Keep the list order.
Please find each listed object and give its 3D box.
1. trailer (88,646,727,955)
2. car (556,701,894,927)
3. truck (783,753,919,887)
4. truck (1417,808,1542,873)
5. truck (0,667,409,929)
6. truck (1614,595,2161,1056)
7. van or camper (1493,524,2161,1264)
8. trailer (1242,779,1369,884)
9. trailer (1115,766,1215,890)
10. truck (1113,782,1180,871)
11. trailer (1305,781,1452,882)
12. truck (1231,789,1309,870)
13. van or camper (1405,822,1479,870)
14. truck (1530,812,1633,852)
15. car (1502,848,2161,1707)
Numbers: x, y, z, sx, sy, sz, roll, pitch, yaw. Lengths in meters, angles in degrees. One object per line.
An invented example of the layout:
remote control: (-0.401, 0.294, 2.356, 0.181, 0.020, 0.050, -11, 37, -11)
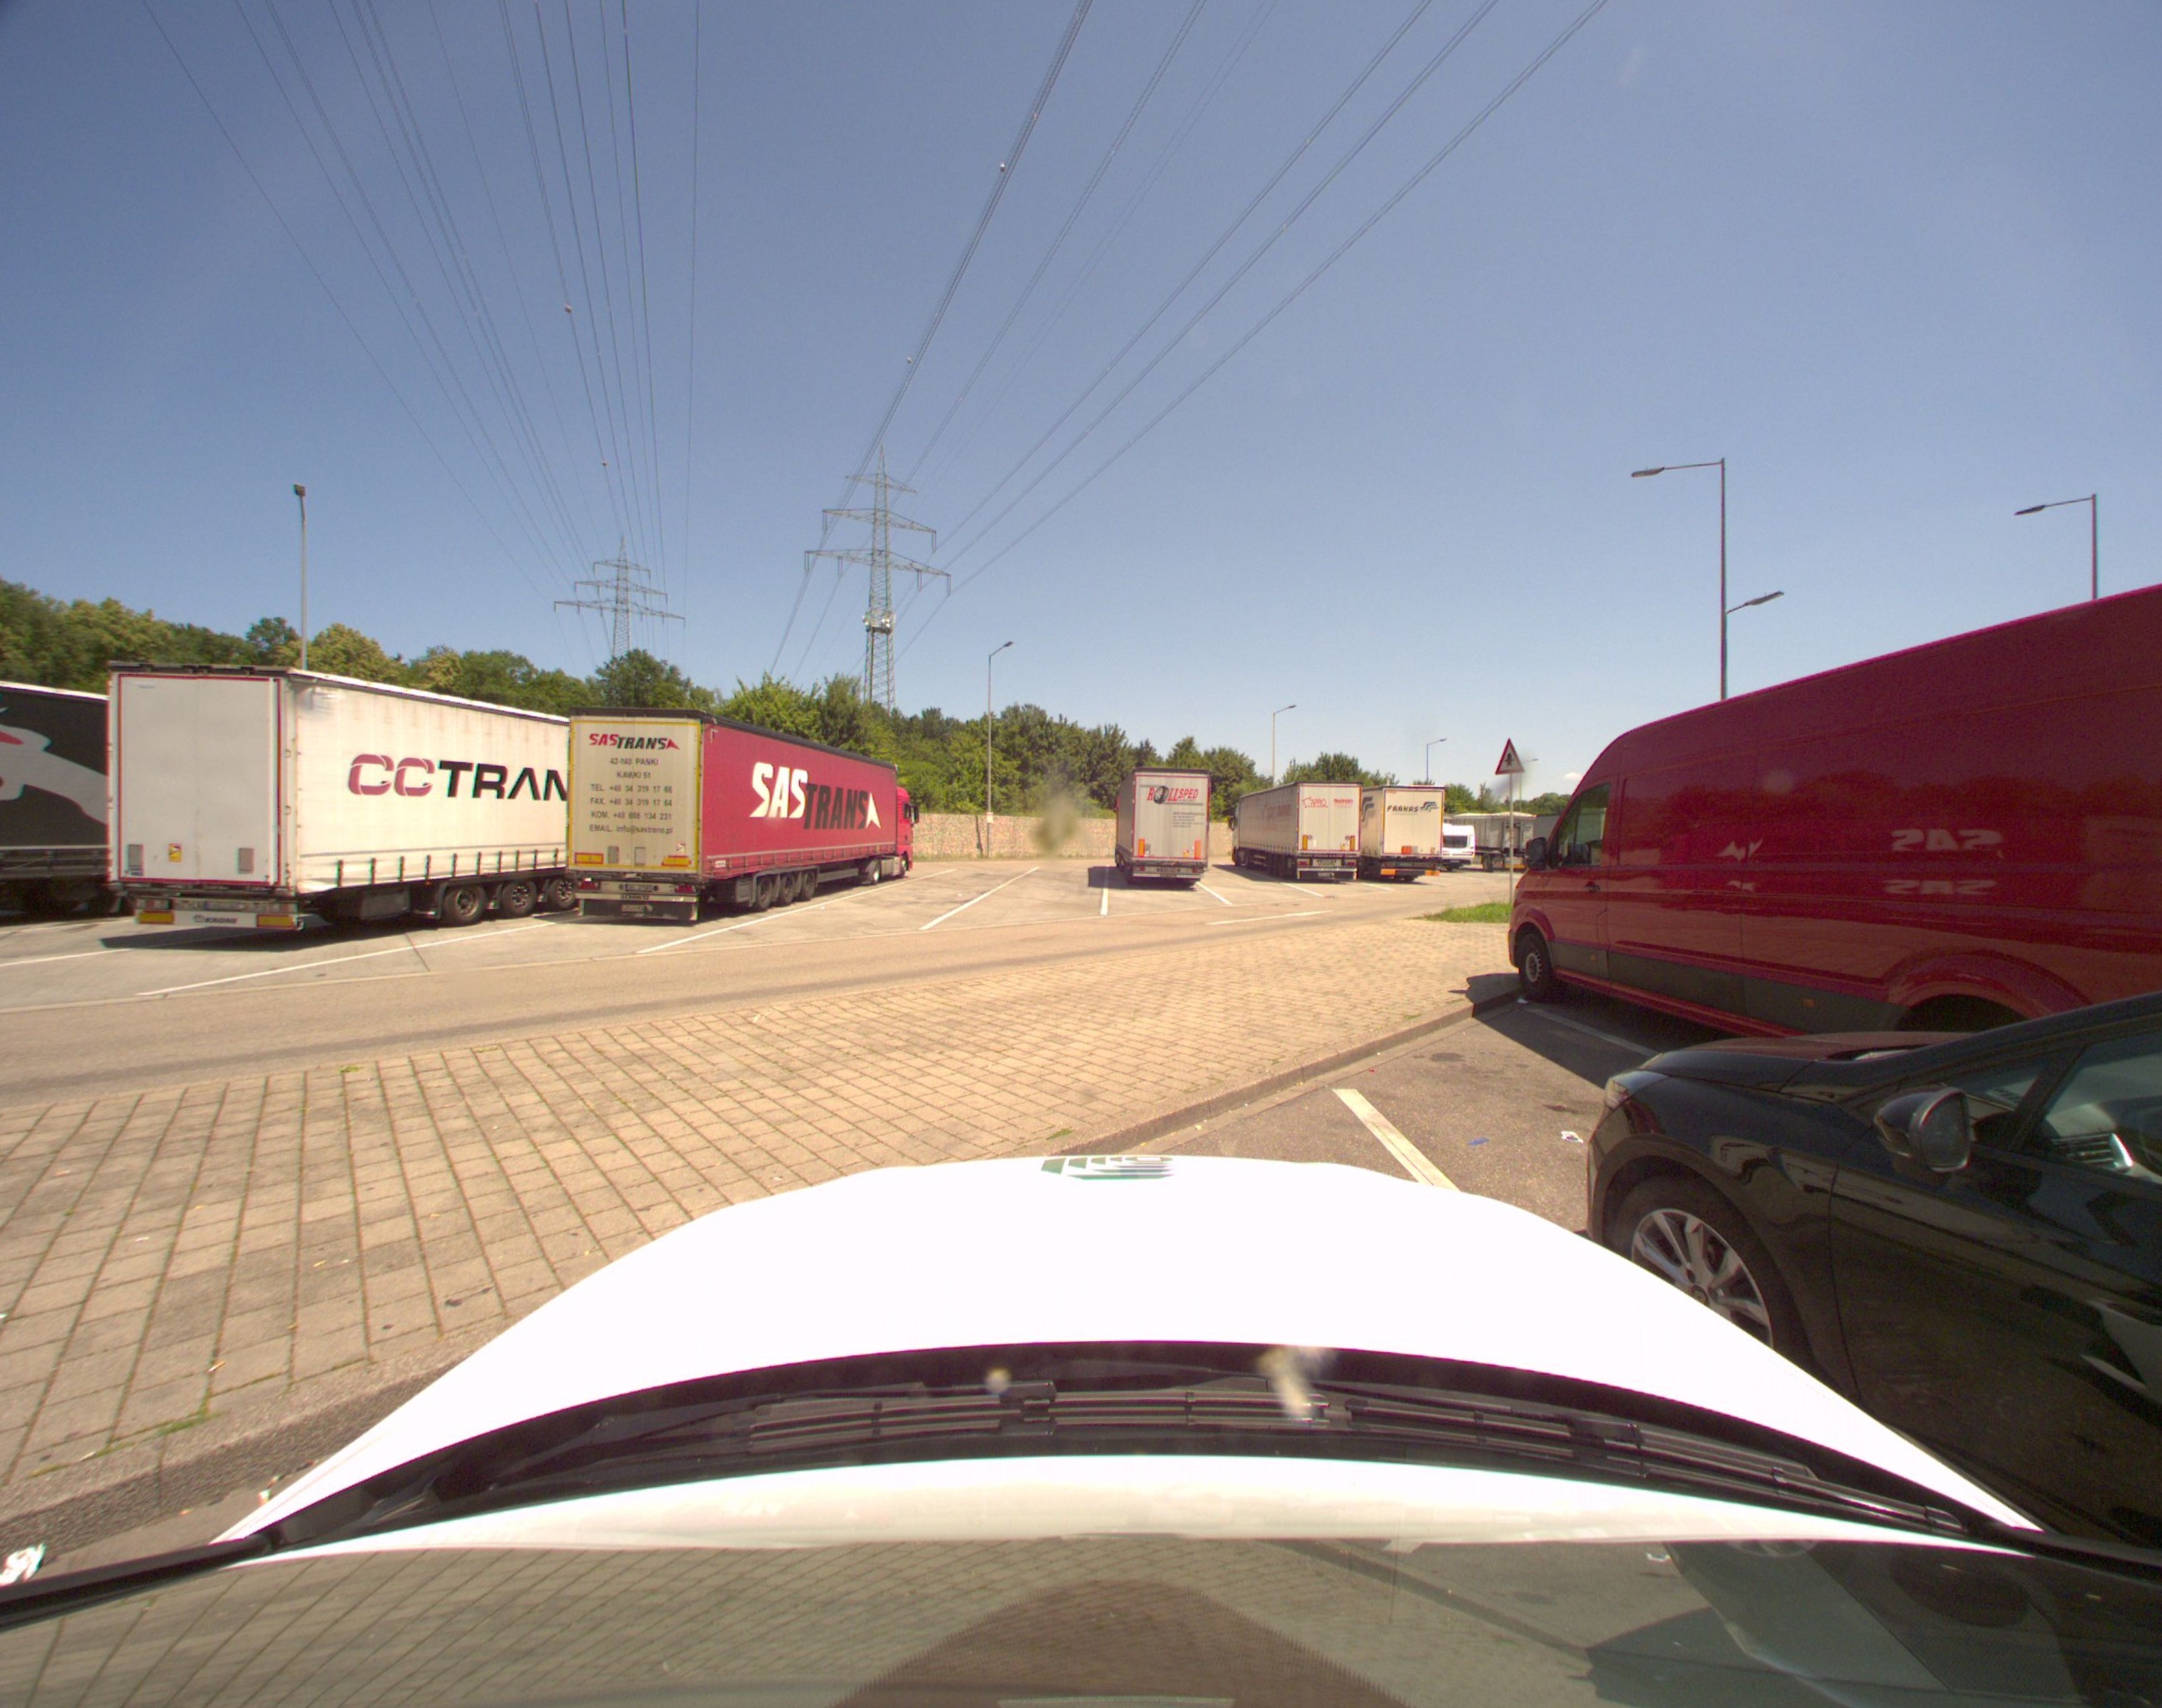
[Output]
trailer: (-12.168, -0.981, 17.796, 2.803, 4.266, 12.947, 0, 2, 2)
car: (-8.055, -0.940, 21.440, 2.686, 4.112, 12.943, 1, 2, 2)
truck: (-7.756, -1.159, 28.357, 2.686, 4.112, 6.243, 1, 2, 2)
truck: (24.292, -0.964, 50.510, 2.478, 3.568, 11.429, 0, 2, 2)
truck: (-18.623, -1.028, 16.276, 2.803, 4.190, 8.793, 0, 2, 2)
truck: (7.934, -0.214, 7.074, 2.455, 2.792, 6.978, 0, 1, 4)
van or camper: (5.134, 0.097, 5.501, 1.986, 2.654, 6.490, -1, 1, 6)
trailer: (9.947, -1.110, 37.910, 2.856, 4.037, 12.445, 0, 2, 2)
trailer: (3.039, -1.110, 33.737, 2.857, 4.037, 14.244, 0, 2, 1)
truck: (3.131, -1.400, 40.825, 2.857, 4.037, 7.029, 0, 2, 1)
trailer: (13.634, -1.130, 38.886, 2.856, 4.037, 12.445, 0, 2, 2)
truck: (10.172, -1.375, 44.543, 2.856, 4.037, 6.960, 0, 2, 2)
van or camper: (20.583, -0.473, 46.751, 2.096, 2.561, 5.376, -1, 1, 3)
truck: (38.025, -1.652, 62.389, 2.117, 2.820, 9.783, -1, 1, 2)
car: (2.450, 0.752, 1.149, 1.612, 1.483, 3.762, -1, 1, -4)
